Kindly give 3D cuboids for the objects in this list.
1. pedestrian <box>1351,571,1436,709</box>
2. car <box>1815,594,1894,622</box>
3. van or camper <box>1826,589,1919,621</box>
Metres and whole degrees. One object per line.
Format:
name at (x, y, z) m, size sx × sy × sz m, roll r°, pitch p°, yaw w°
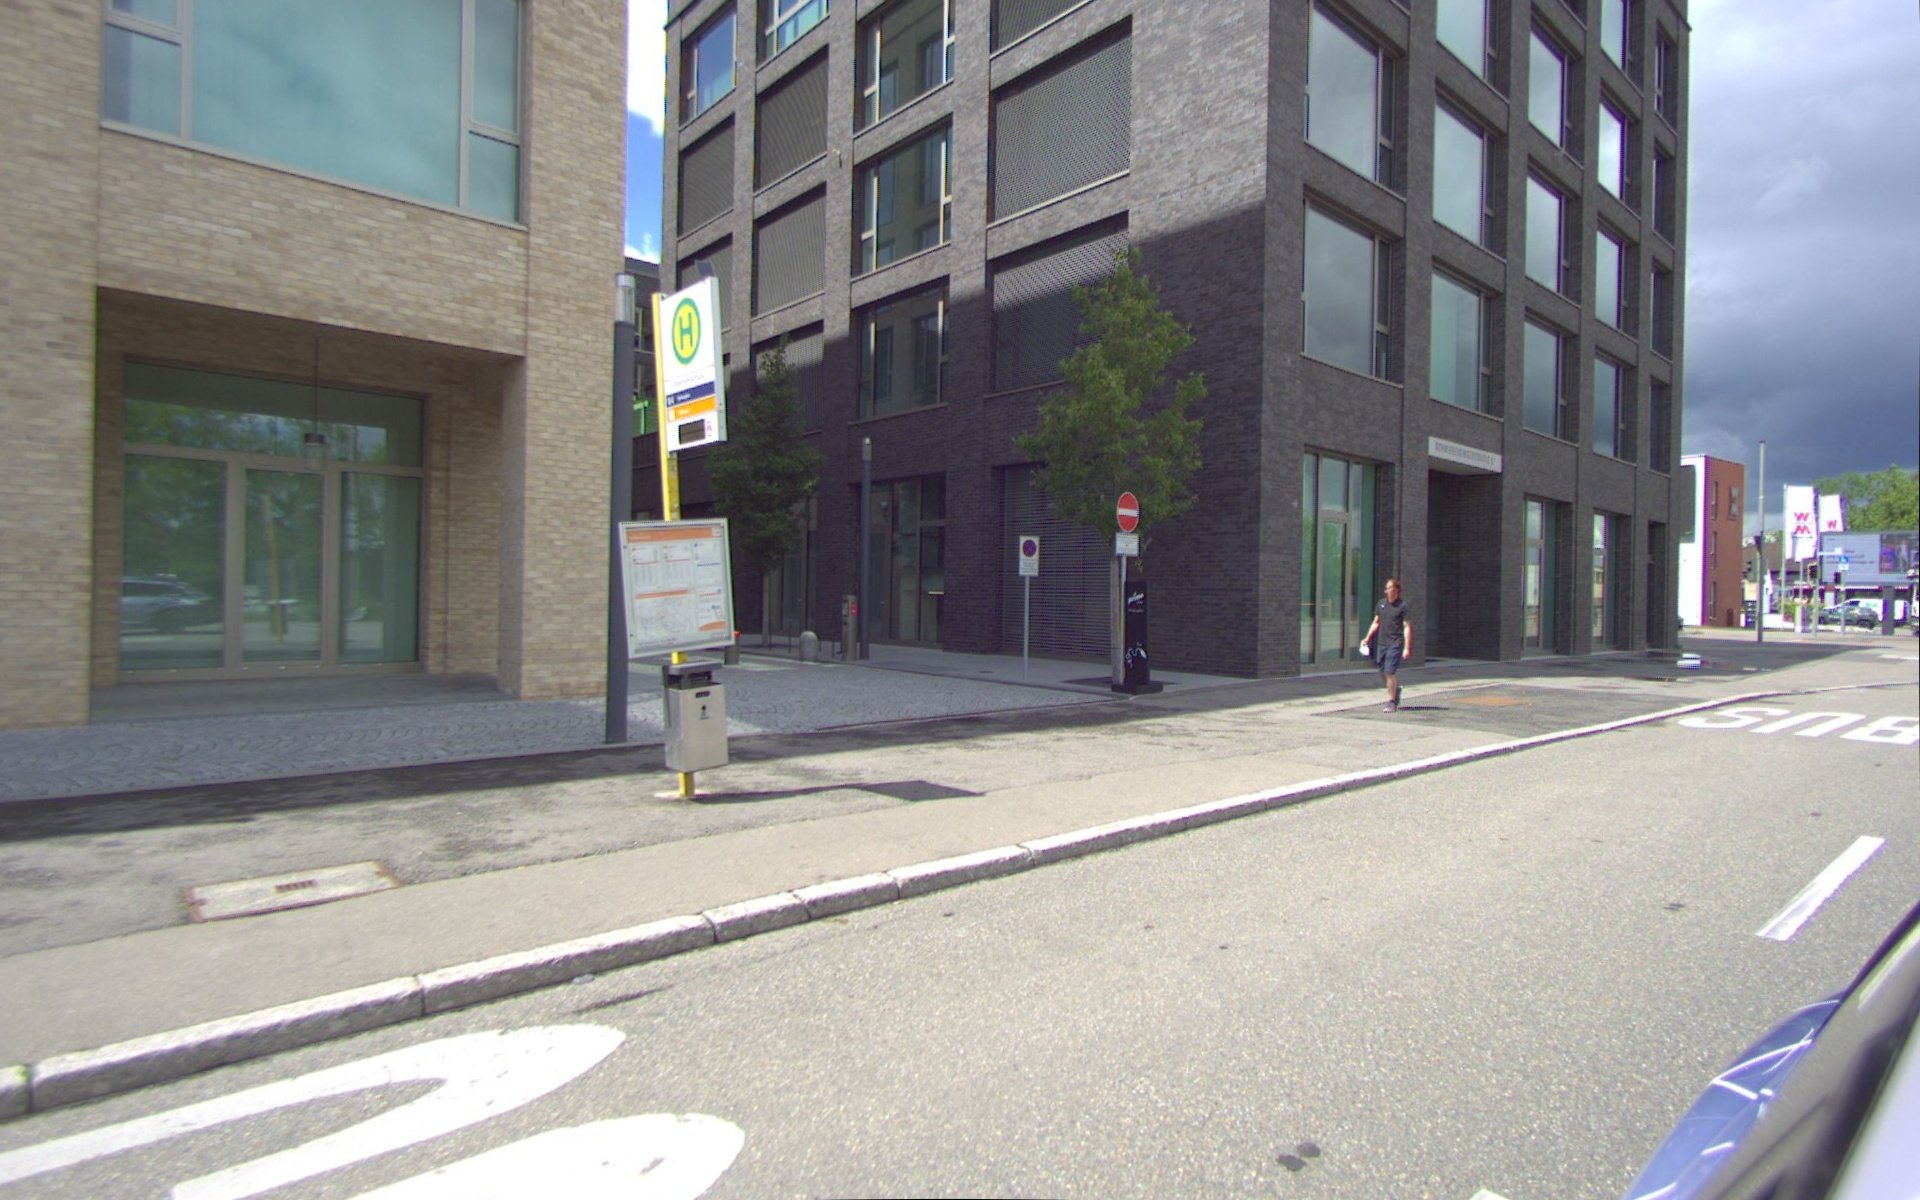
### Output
pedestrian at (5.750, 0.509, 13.420) m, size 0.945 × 1.750 × 0.684 m, roll 1°, pitch -1°, yaw -41°
car at (60.340, 0.522, 68.319) m, size 1.729 × 1.503 × 3.680 m, roll 0°, pitch 5°, yaw -37°
van or camper at (66.323, 0.306, 73.428) m, size 2.172 × 1.981 × 4.912 m, roll 0°, pitch 4°, yaw -39°
